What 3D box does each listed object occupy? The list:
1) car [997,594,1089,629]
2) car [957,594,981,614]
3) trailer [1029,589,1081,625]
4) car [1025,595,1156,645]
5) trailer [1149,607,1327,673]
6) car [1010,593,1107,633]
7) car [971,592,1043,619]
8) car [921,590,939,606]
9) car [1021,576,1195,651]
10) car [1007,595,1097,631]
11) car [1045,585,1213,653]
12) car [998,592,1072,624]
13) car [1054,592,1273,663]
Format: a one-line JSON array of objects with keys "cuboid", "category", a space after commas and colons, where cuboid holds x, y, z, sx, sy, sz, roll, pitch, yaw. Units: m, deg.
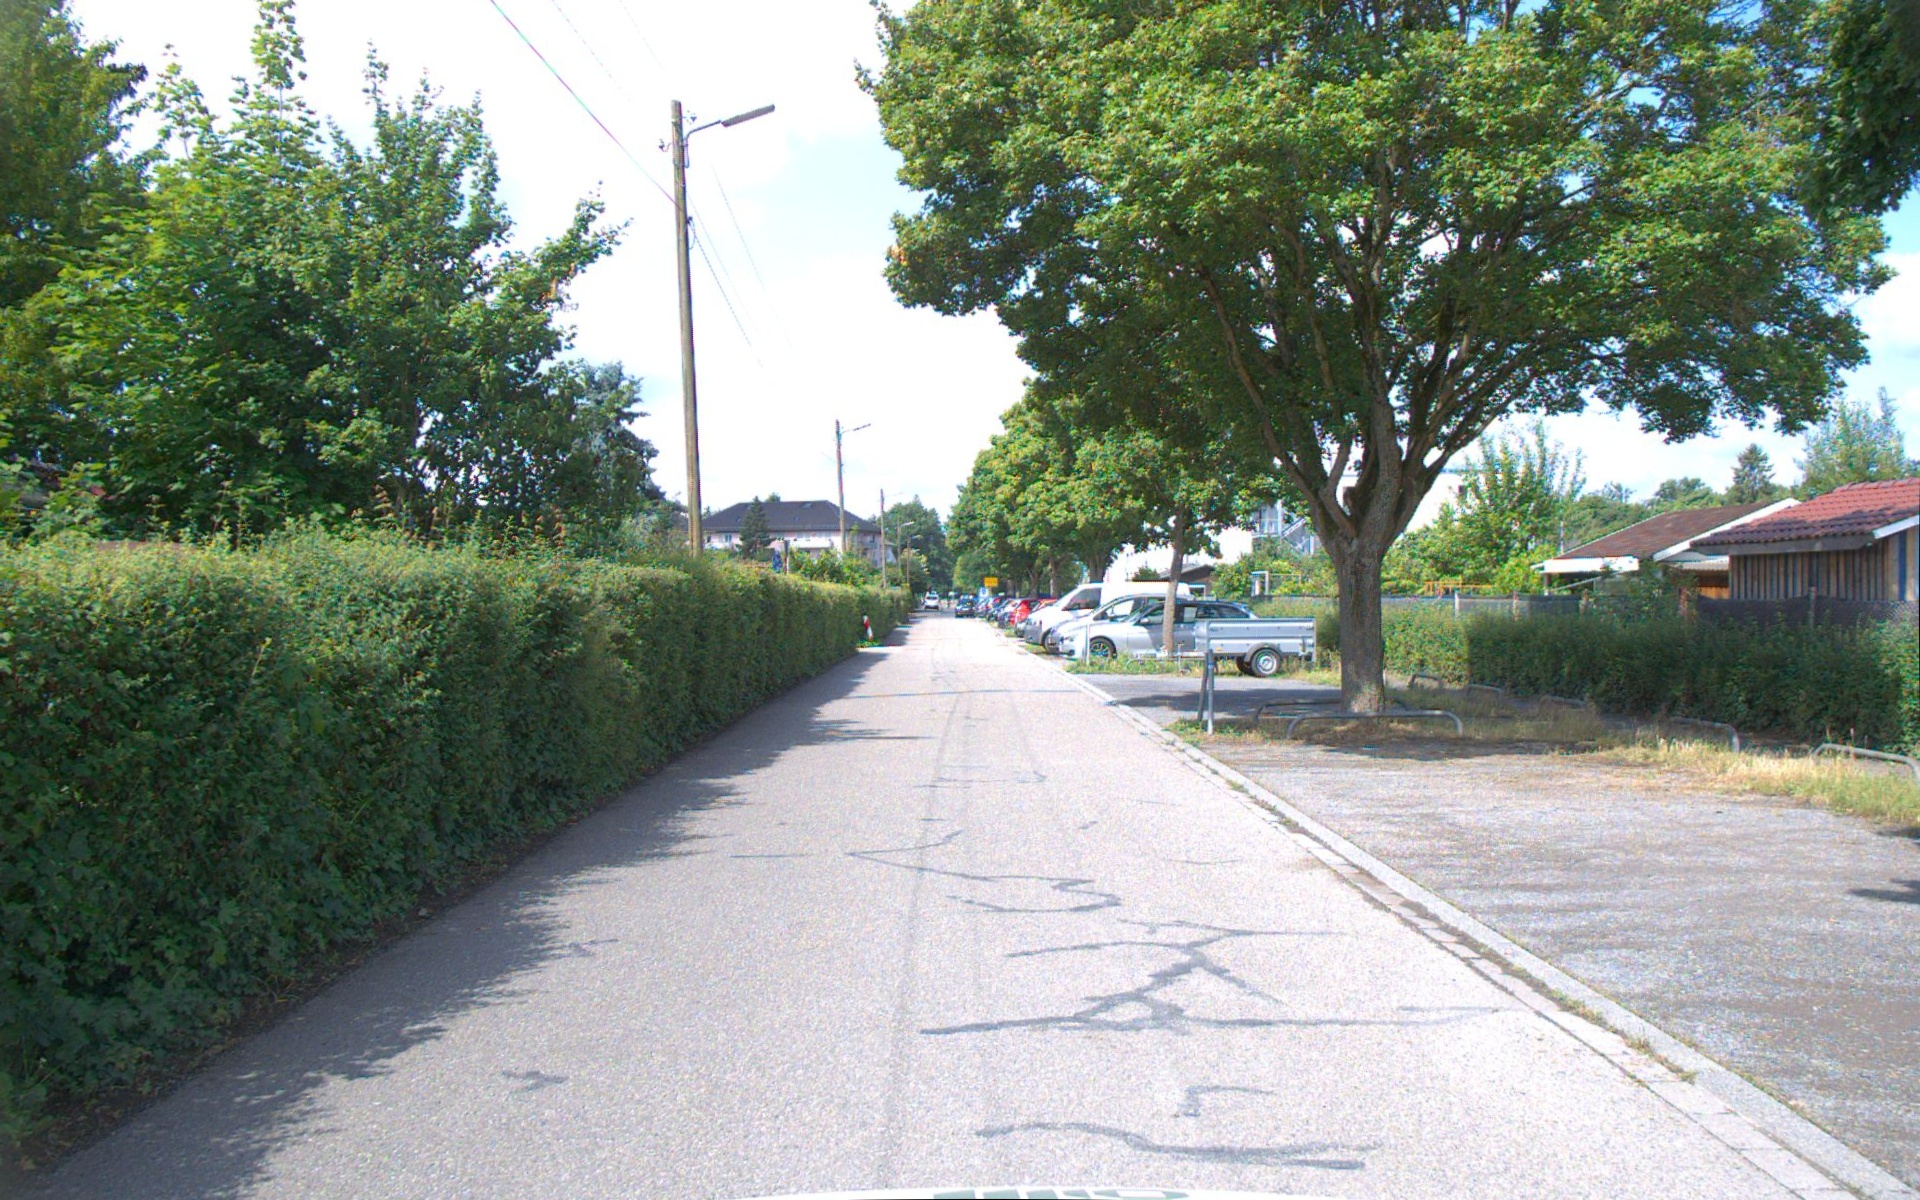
[{"cuboid": [3.732, 0.510, 74.977, 3.984, 1.481, 1.869, 1, 0, -3], "category": "car"}, {"cuboid": [0.708, 0.321, 130.239, 1.628, 1.532, 4.002, 1, 0, 4], "category": "car"}, {"cuboid": [4.756, 0.343, 82.792, 2.401, 1.750, 1.517, 1, 1, -4], "category": "trailer"}, {"cuboid": [4.202, 0.651, 53.775, 4.097, 1.530, 1.878, 1, 0, 0], "category": "car"}, {"cuboid": [5.241, 0.746, 31.484, 3.037, 1.162, 2.000, 1, 0, -1], "category": "trailer"}, {"cuboid": [4.053, 0.548, 68.300, 3.904, 1.546, 1.855, 1, 0, 3], "category": "car"}, {"cuboid": [2.968, 0.334, 105.473, 4.457, 1.606, 1.808, 1, 0, -2], "category": "car"}, {"cuboid": [-3.609, -0.212, 198.733, 1.863, 1.846, 4.001, 1, 0, 2], "category": "car"}, {"cuboid": [4.059, 0.349, 45.904, 4.541, 1.919, 2.110, -1, 0, -2], "category": "car"}, {"cuboid": [3.964, 0.569, 71.813, 3.829, 1.448, 1.958, 1, 0, 2], "category": "car"}, {"cuboid": [4.354, 0.477, 43.163, 4.157, 1.620, 2.000, -1, 0, 0], "category": "car"}, {"cuboid": [3.867, 0.421, 85.667, 3.650, 1.567, 1.848, 1, 0, -4], "category": "car"}, {"cuboid": [4.394, 0.581, 36.206, 4.487, 1.491, 1.998, 0, 0, -4], "category": "car"}]
